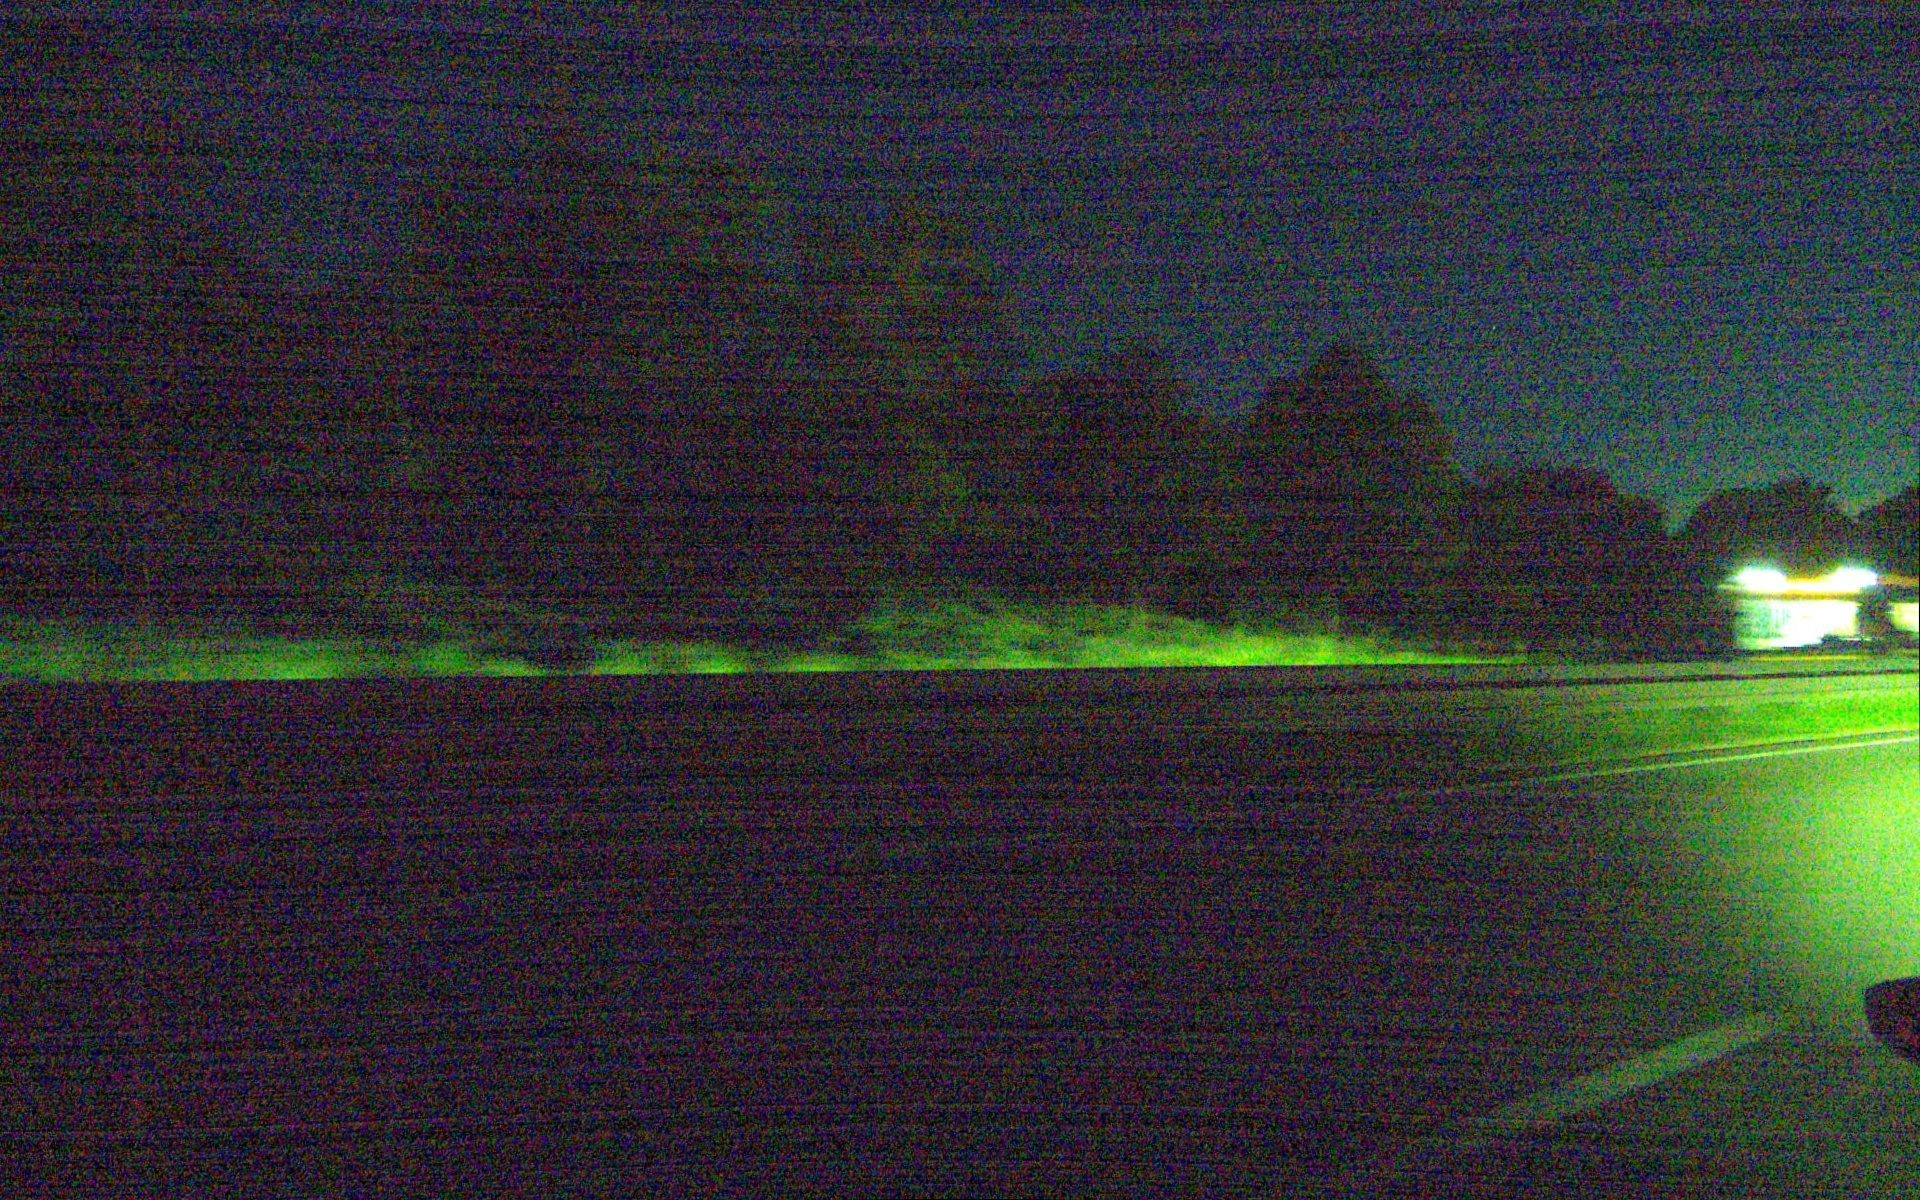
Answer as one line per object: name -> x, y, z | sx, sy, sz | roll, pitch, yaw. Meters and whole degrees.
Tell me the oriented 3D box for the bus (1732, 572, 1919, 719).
bus -> 26.088, 1.158, 27.702 | 12.153, 3.432, 2.912 | 1, 0, -28
